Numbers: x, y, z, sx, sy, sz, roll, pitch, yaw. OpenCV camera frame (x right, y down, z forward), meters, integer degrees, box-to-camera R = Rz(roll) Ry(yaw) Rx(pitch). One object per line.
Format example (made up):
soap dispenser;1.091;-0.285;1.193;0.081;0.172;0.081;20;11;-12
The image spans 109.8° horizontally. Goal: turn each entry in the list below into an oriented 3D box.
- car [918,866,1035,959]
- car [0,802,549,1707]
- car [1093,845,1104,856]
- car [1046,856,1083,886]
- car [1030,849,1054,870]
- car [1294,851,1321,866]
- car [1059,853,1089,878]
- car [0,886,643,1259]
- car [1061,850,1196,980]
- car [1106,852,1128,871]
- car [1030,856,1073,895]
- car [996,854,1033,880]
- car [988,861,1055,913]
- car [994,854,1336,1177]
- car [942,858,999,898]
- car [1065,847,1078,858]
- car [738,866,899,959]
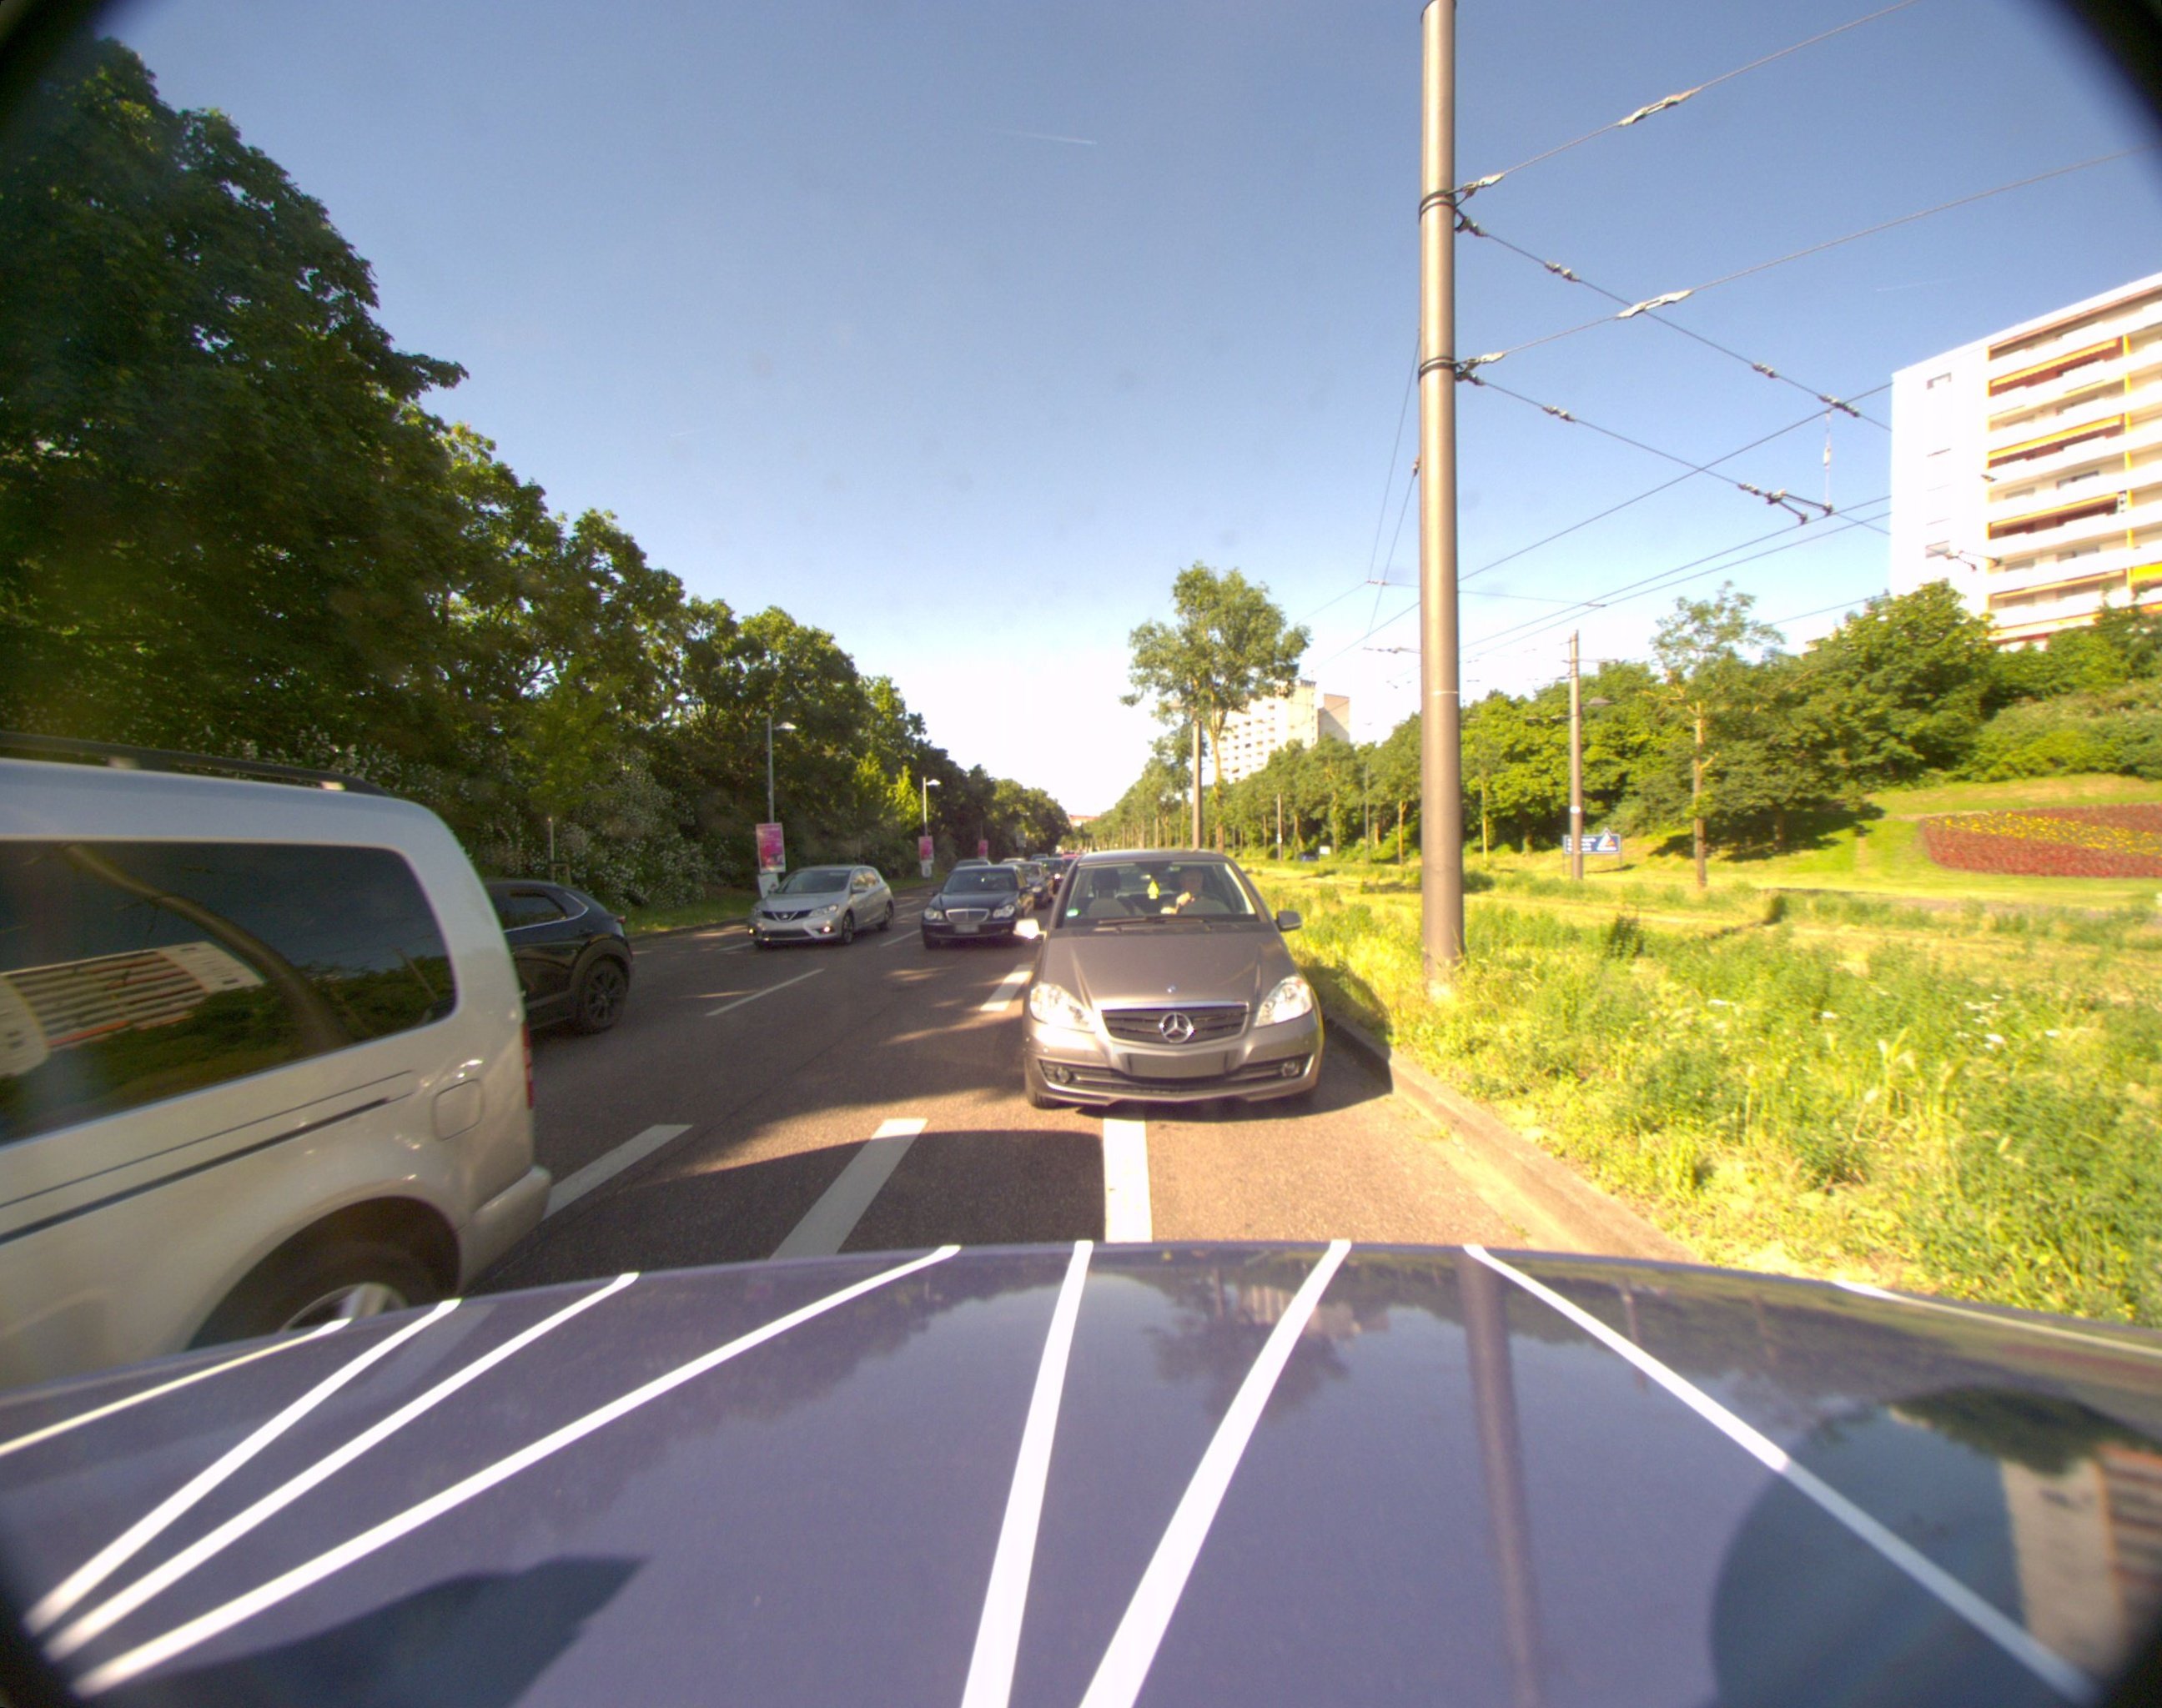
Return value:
car;-1.852;1.000;14.658;1.717;1.445;4.197;-1;0;-1
car;-2.805;0.856;0.235;1.808;1.811;4.587;-2;1;3
car;2.683;-0.531;118.497;1.630;1.556;3.812;-2;1;1
car;-0.807;0.854;39.857;1.713;1.430;4.171;-2;0;1
car;-3.257;0.439;63.541;1.749;1.652;4.000;-1;0;1
car;22.192;0.439;74.656;1.578;1.412;3.909;-1;0;1
car;-0.416;0.700;48.143;1.685;1.437;3.727;-2;1;2
car;-5.443;1.131;5.645;1.772;1.499;4.225;-2;1;2
car;0.664;0.808;12.171;1.749;1.652;3.999;-2;1;1
car;3.162;0.651;67.398;1.749;1.652;4.000;-1;0;1
car;-1.226;0.866;32.537;1.621;1.485;3.452;-2;1;0
car;-4.077;0.781;47.283;1.749;1.427;4.386;-2;1;2
car;-1.795;0.970;24.047;1.723;1.411;4.050;-1;0;1
car;0.471;0.859;6.016;1.749;1.630;4.000;-2;0;1
car;-4.591;0.966;32.154;1.713;1.485;3.963;-2;0;1
car;-1.306;-0.191;110.144;1.713;1.485;3.963;-2;0;1
car;-5.125;1.063;15.475;1.726;1.508;4.137;-2;0;1
